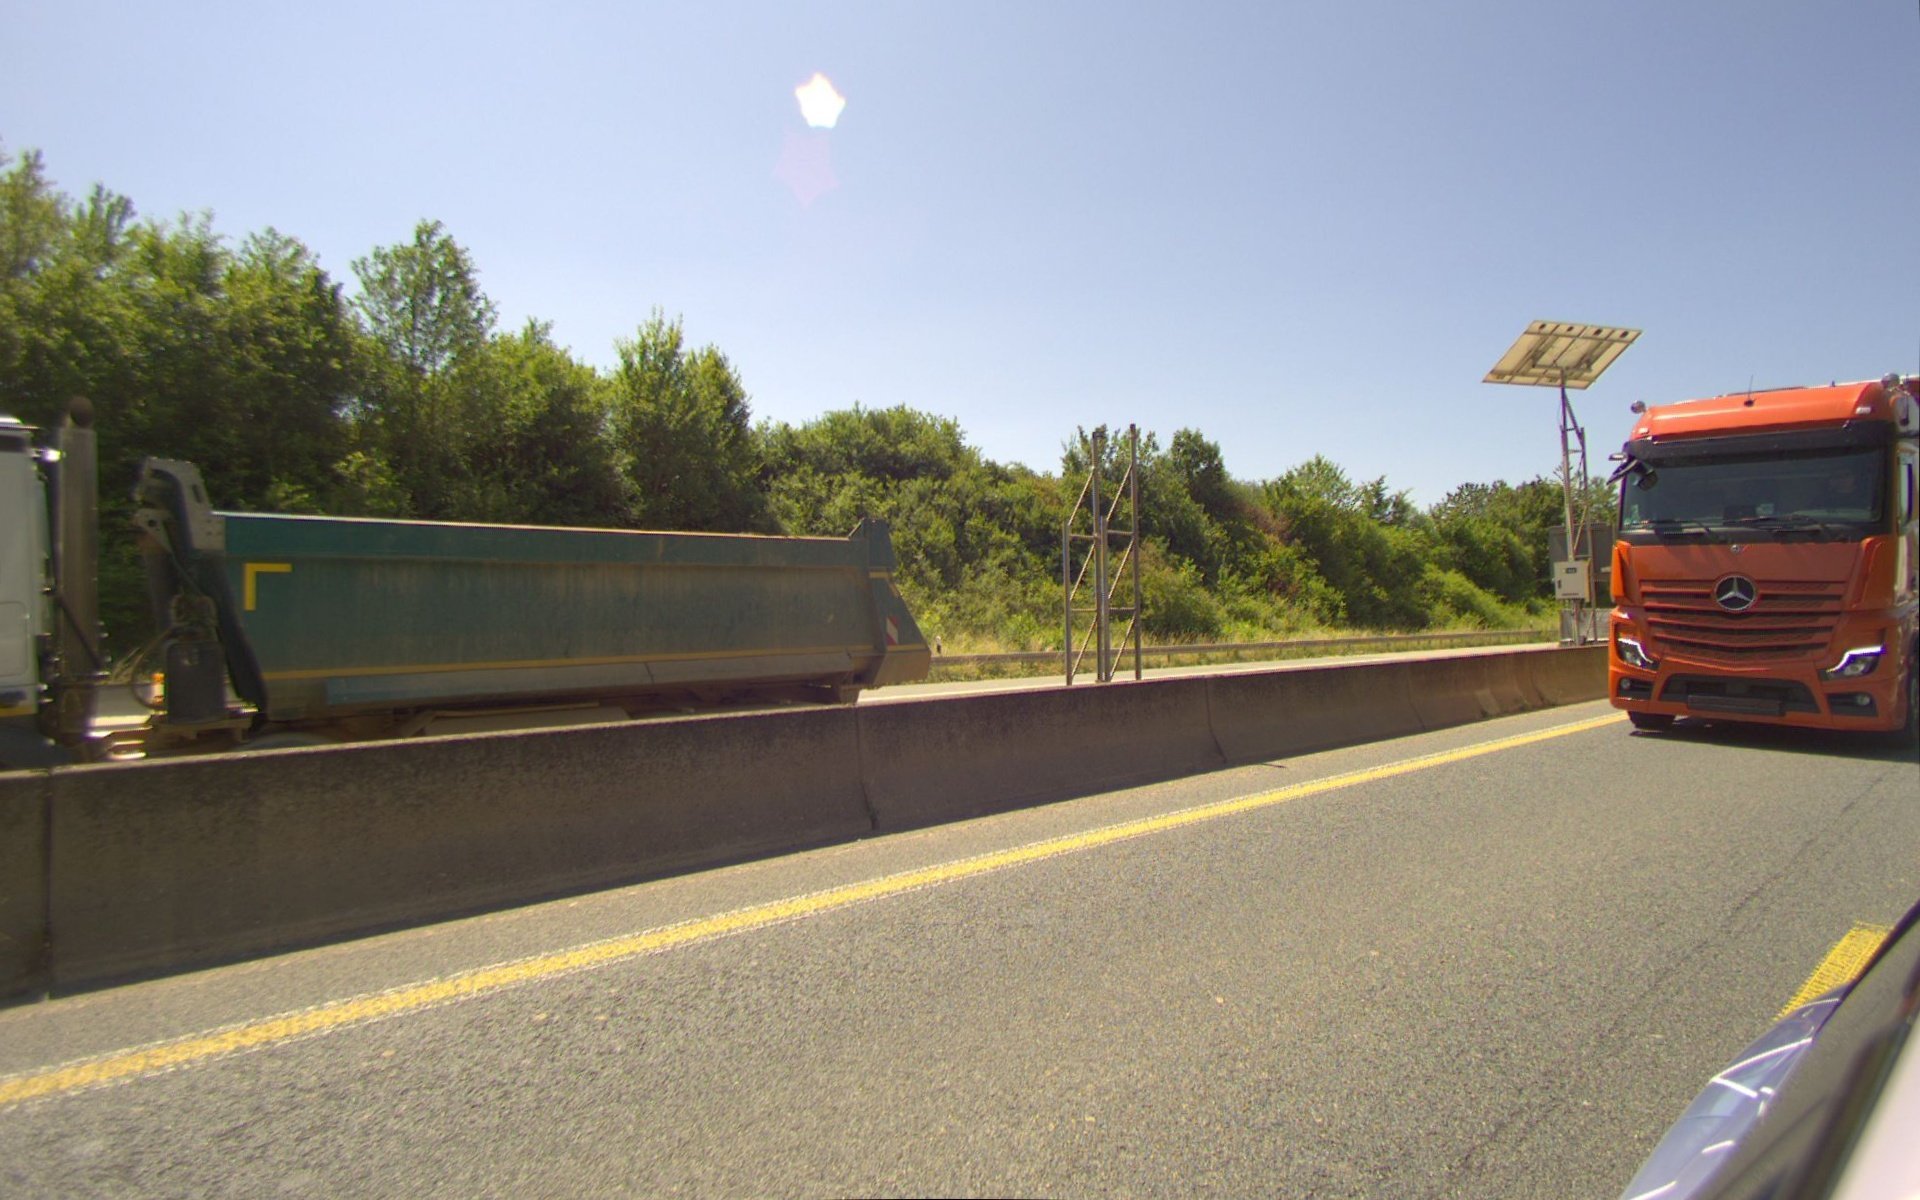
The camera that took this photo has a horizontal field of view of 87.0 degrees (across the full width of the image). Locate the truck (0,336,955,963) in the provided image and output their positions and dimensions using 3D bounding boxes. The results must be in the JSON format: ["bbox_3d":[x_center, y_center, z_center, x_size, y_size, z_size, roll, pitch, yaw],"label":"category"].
[{"bbox_3d":[-4.230,0.276,8.504,8.939,3.556,2.537,0,-1,-41],"label":"truck"}]

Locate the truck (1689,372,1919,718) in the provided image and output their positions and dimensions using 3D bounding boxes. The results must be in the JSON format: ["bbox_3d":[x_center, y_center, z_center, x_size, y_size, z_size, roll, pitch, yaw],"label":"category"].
[{"bbox_3d":[15.603,-0.700,16.846,12.988,4.061,2.686,-1,0,-41],"label":"truck"}]

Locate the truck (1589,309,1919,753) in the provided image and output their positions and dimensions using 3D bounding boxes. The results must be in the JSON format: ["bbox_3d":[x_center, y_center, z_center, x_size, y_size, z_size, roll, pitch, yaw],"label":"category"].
[{"bbox_3d":[10.456,-0.656,12.415,6.606,4.061,2.687,-1,0,-40],"label":"truck"}]
